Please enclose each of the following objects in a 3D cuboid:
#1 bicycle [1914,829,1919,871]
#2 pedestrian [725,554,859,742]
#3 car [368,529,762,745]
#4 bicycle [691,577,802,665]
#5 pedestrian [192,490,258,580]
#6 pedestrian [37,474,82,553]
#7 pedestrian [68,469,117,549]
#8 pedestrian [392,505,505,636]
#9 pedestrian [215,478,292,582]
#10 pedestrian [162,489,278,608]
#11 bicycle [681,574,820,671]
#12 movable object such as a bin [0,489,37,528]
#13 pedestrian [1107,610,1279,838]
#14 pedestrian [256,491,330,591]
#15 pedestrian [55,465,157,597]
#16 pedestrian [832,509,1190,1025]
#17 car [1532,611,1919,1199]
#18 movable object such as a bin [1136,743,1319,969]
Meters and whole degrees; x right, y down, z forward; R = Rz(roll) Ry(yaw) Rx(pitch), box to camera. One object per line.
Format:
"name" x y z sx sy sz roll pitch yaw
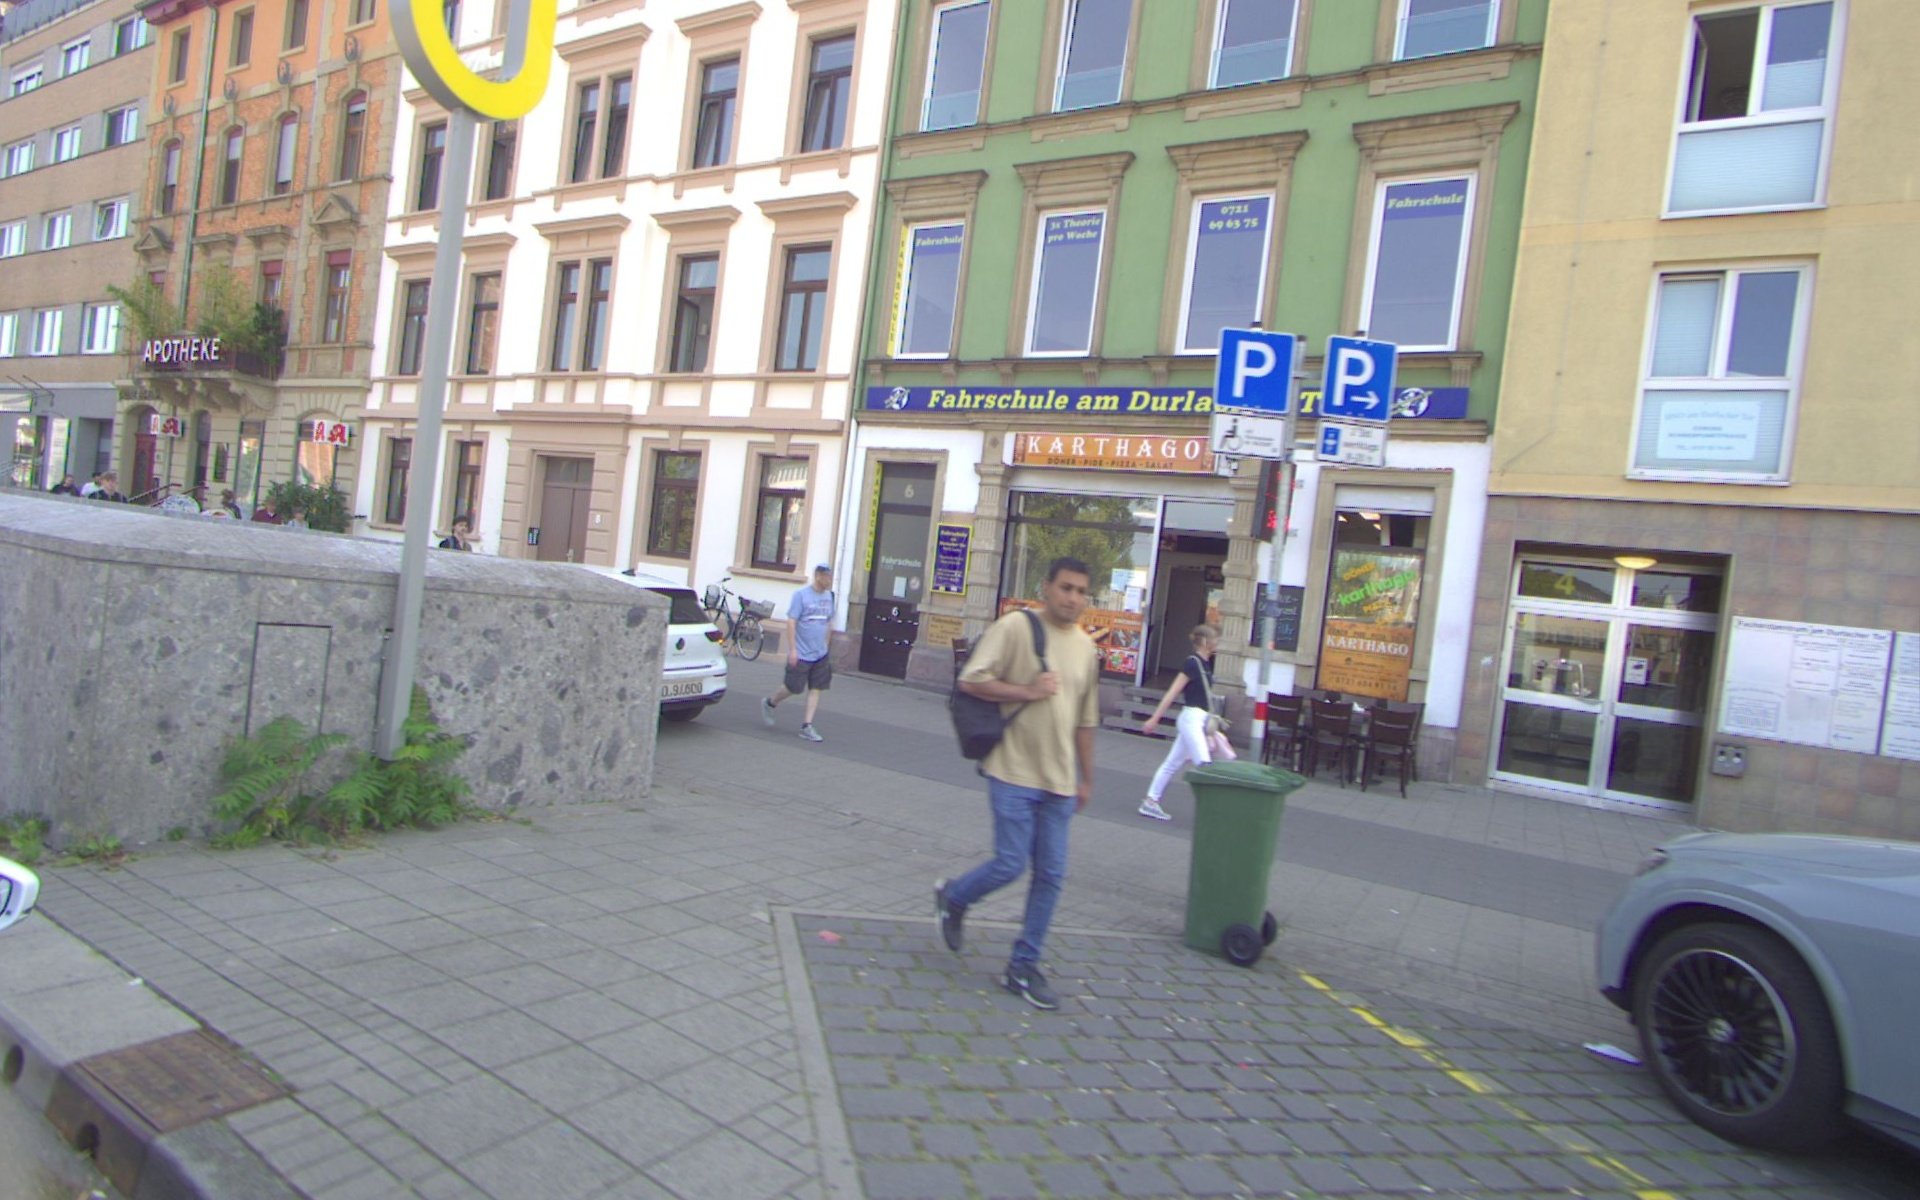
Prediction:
"bicycle" 9.660 1.963 8.263 2.383 1.254 0.939 8 1 34
"pedestrian" -1.672 0.465 10.017 0.927 1.707 0.671 8 2 30
"car" -3.907 0.289 9.841 3.558 1.458 1.633 8 1 30
"bicycle" -3.484 0.331 16.320 1.816 1.199 0.459 7 1 31
"pedestrian" -16.274 -1.434 22.287 0.674 1.871 0.842 7 3 21
"pedestrian" -21.381 -2.055 23.888 0.667 1.774 0.577 7 4 30
"pedestrian" -21.099 -2.208 24.455 0.865 1.819 0.599 7 4 30
"pedestrian" -6.892 -0.386 13.599 0.953 1.602 0.852 6 1 -3
"pedestrian" -13.324 -1.324 18.969 1.000 1.796 0.685 9 2 30
"pedestrian" -10.931 -0.734 14.896 0.953 1.602 0.852 6 1 -3
"bicycle" -3.402 0.339 16.174 2.430 1.161 0.480 10 3 33
"movable object such as a bin" -28.523 -2.758 30.329 0.752 1.061 0.645 7 1 -13
"pedestrian" 1.805 0.936 7.936 0.953 1.602 0.852 6 1 -3
"pedestrian" -13.012 -1.149 19.633 1.000 1.796 0.685 9 2 30
"pedestrian" -12.555 -1.008 14.790 0.956 1.752 0.849 10 4 37
"pedestrian" 0.223 0.618 4.126 0.859 1.771 0.866 9 -1 38
"car" 3.963 1.083 2.201 2.010 1.735 4.655 7 0 -11
"movable object such as a bin" 1.363 1.250 5.095 0.688 0.927 0.538 8 -2 27
